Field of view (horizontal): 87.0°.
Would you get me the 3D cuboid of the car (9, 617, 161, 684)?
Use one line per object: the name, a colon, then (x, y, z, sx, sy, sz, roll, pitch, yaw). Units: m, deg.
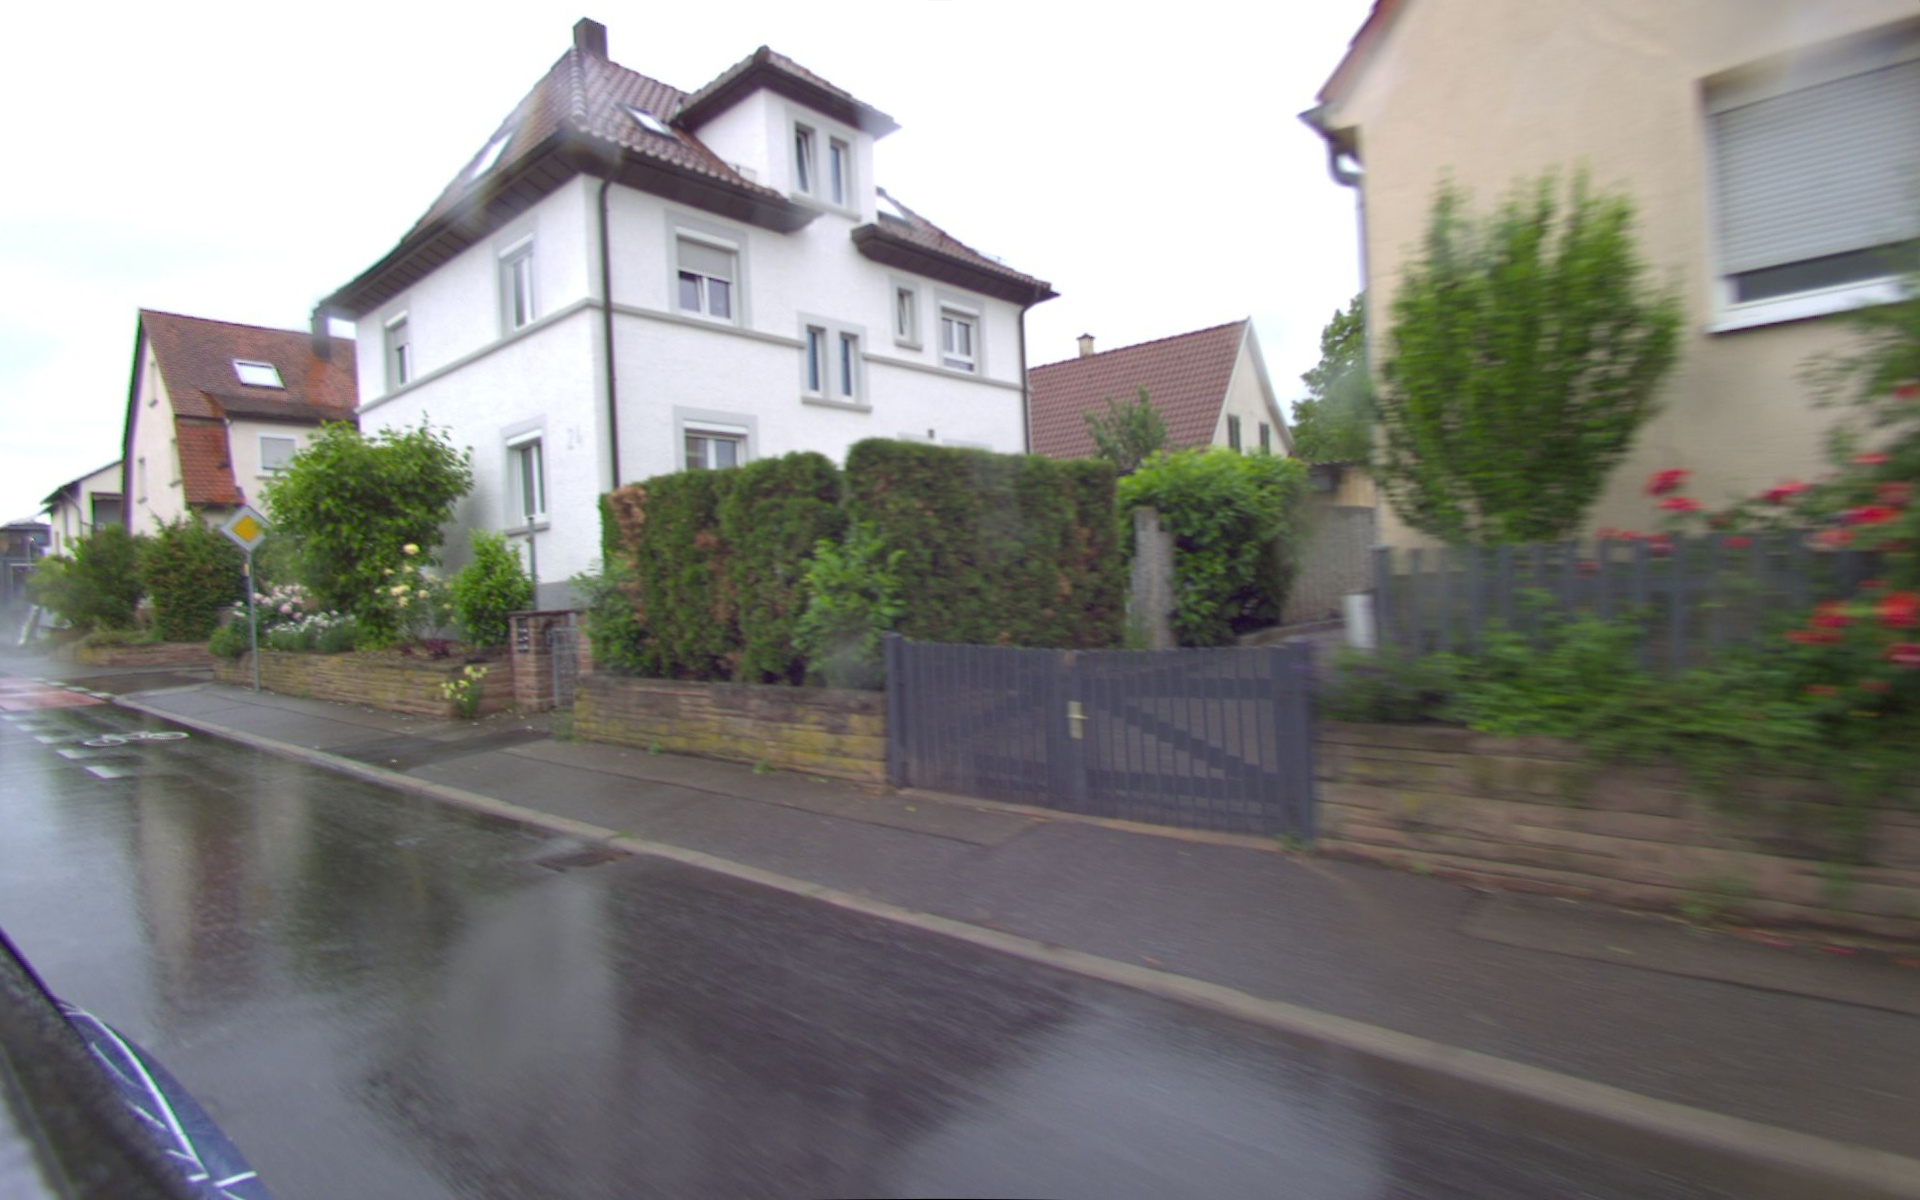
car: (-34.108, 2.003, 39.527, 1.871, 1.990, 3.950, -2, -12, 38)
